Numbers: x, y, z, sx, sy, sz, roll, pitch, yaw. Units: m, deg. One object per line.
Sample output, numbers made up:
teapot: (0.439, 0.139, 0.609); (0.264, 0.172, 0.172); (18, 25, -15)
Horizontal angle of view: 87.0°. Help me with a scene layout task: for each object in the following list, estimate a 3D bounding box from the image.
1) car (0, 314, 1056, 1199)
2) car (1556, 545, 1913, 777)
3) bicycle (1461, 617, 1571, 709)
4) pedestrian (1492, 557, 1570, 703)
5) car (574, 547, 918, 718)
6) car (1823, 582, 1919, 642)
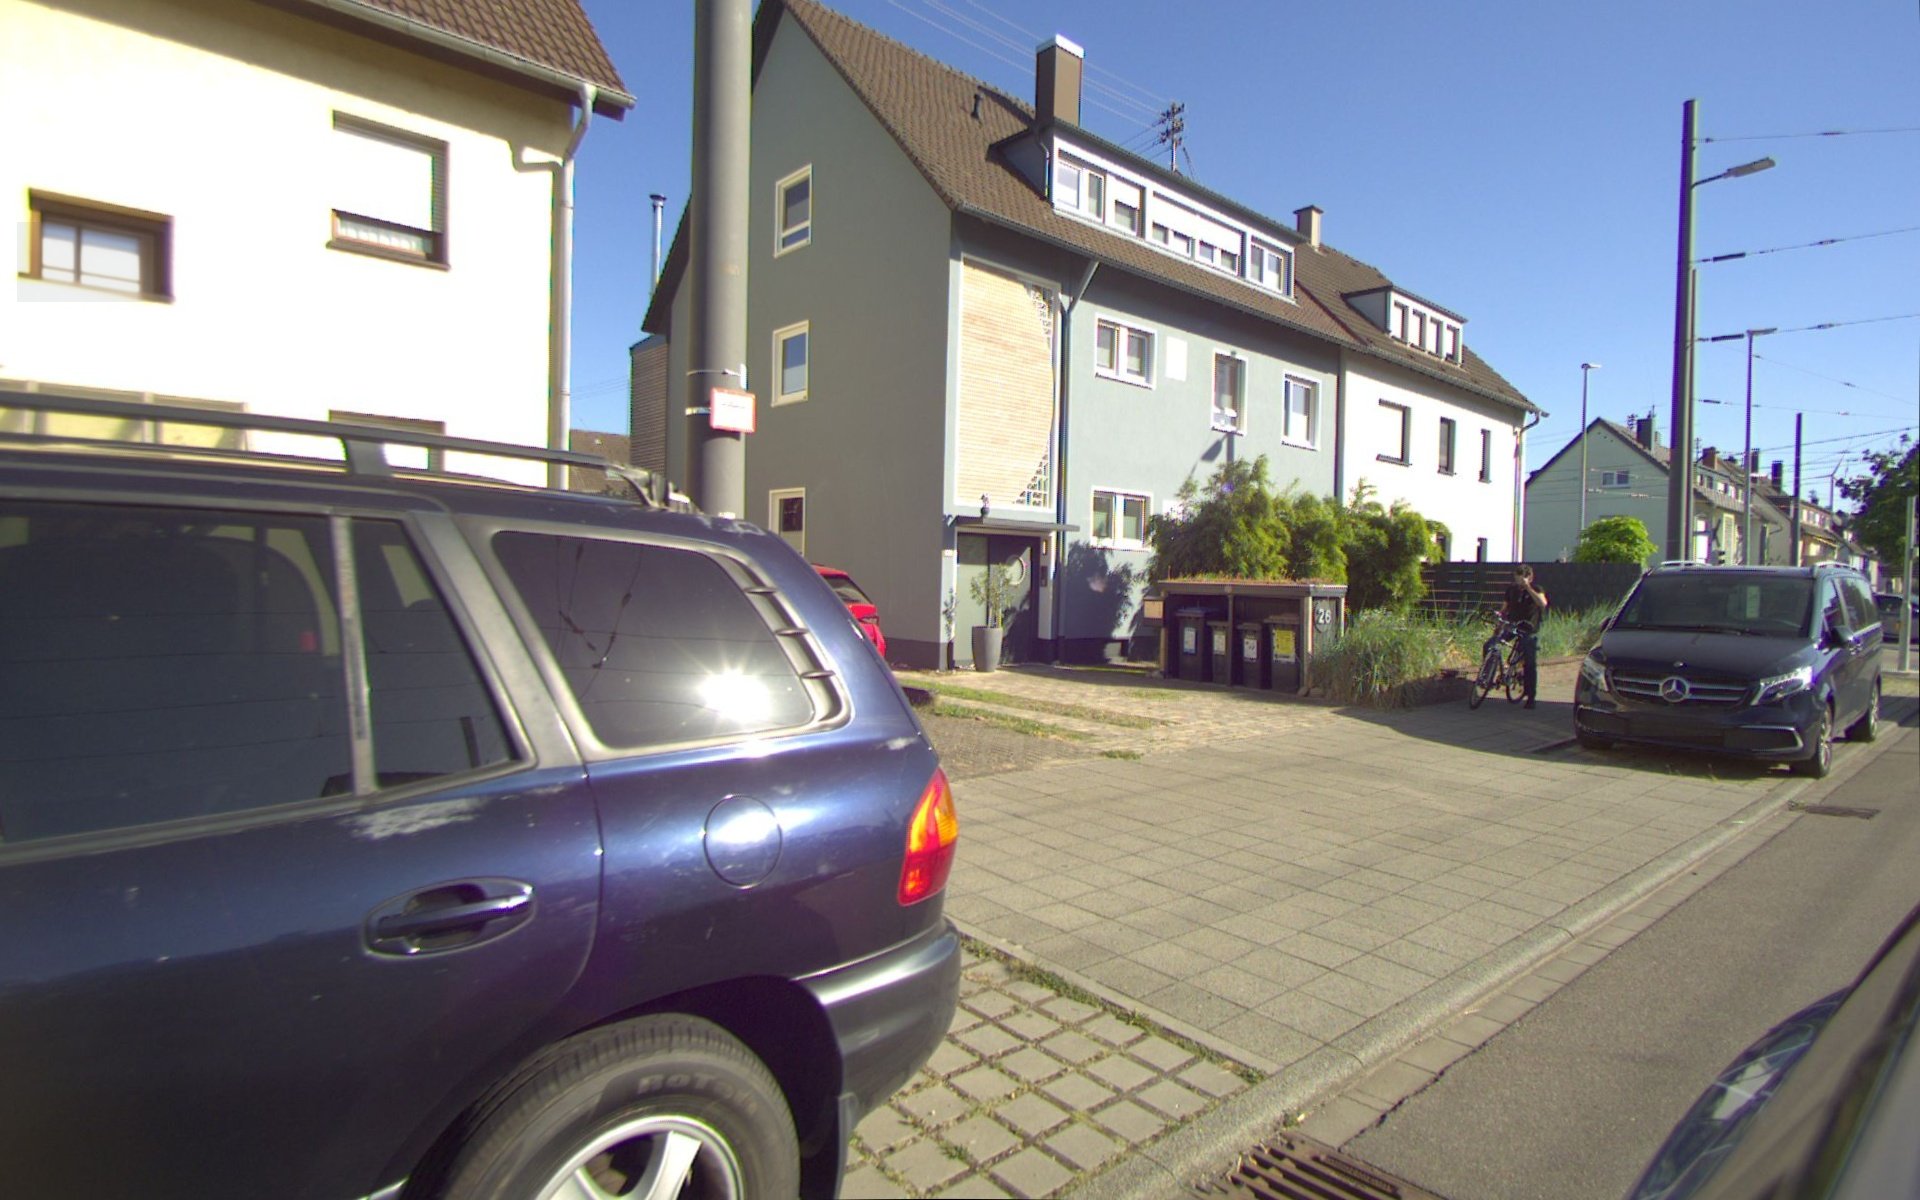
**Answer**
car: (-2.064, 0.493, 1.477); (4.395, 1.680, 1.858); (0, 2, -41)
car: (8.145, 0.447, 10.455); (4.841, 1.859, 1.965); (0, 2, -41)
bicycle: (6.807, 0.734, 12.375); (1.534, 0.991, 0.602); (0, 4, -39)
pedestrian: (7.099, 0.353, 12.592); (0.701, 1.745, 0.584); (0, 2, -39)
car: (-2.498, 0.211, 11.038); (1.867, 1.486, 4.173); (1, 2, -41)
car: (27.200, 0.357, 28.503); (1.793, 1.598, 4.007); (1, 2, -27)
